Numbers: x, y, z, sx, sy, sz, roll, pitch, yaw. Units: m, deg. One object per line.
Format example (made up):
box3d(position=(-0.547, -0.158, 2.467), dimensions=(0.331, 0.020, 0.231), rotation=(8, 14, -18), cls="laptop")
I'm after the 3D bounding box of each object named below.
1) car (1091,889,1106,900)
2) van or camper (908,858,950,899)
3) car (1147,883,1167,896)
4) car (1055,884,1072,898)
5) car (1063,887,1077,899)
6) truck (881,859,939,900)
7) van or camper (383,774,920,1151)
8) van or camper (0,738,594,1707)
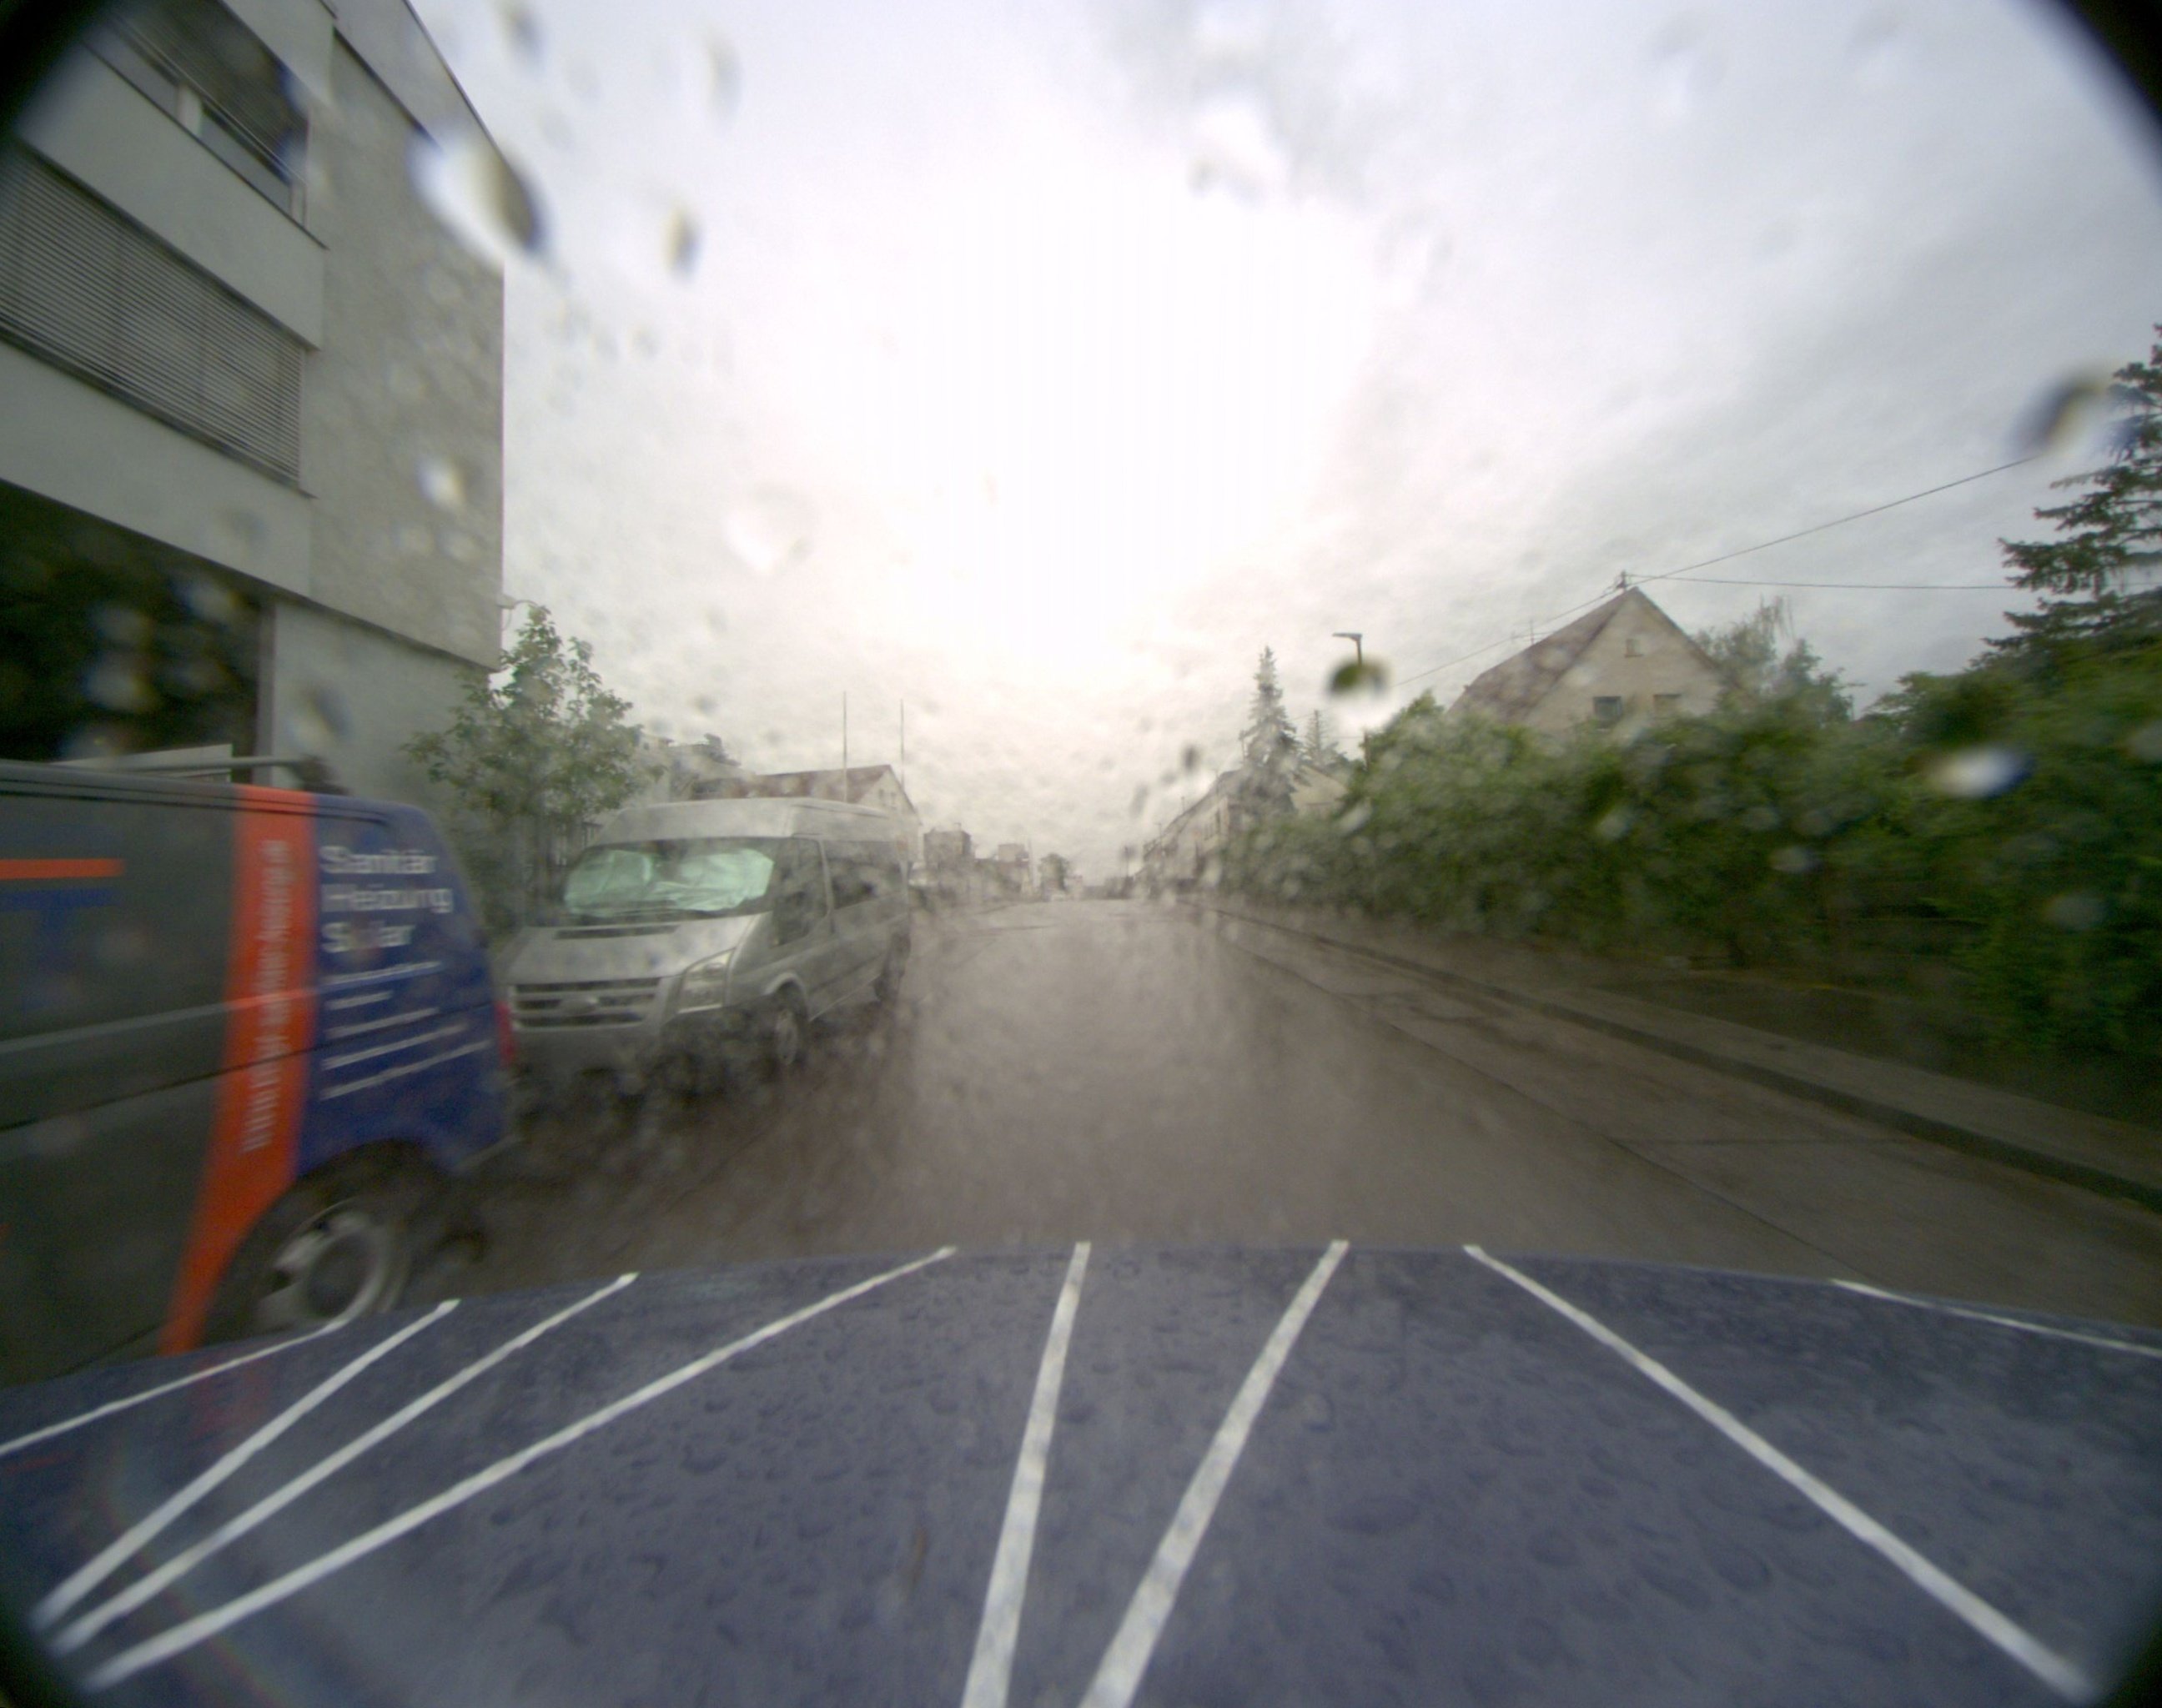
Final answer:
box3d(position=(2.550, 5.849, 111.028), dimensions=(1.898, 1.523, 4.001), rotation=(-1, -2, -1), cls="car")
box3d(position=(-9.567, 1.557, 48.266), dimensions=(2.090, 2.480, 5.803), rotation=(0, -2, -6), cls="van or camper")
box3d(position=(8.962, 4.225, 90.226), dimensions=(1.898, 1.523, 4.001), rotation=(-1, -2, -1), cls="car")
box3d(position=(-2.059, 4.273, 88.408), dimensions=(1.898, 1.537, 4.001), rotation=(-1, -2, -1), cls="car")
box3d(position=(-1.590, 5.438, 106.300), dimensions=(1.898, 1.470, 4.001), rotation=(-1, -2, -1), cls="car")
box3d(position=(-12.917, 1.931, 57.991), dimensions=(2.325, 2.950, 7.136), rotation=(-1, -2, 4), cls="truck")
box3d(position=(-3.150, 0.685, 7.275), dimensions=(1.998, 2.229, 5.441), rotation=(-1, -1, 0), cls="van or camper")
box3d(position=(-3.260, 0.813, 0.873), dimensions=(1.998, 2.101, 5.203), rotation=(-1, -1, 0), cls="van or camper")
